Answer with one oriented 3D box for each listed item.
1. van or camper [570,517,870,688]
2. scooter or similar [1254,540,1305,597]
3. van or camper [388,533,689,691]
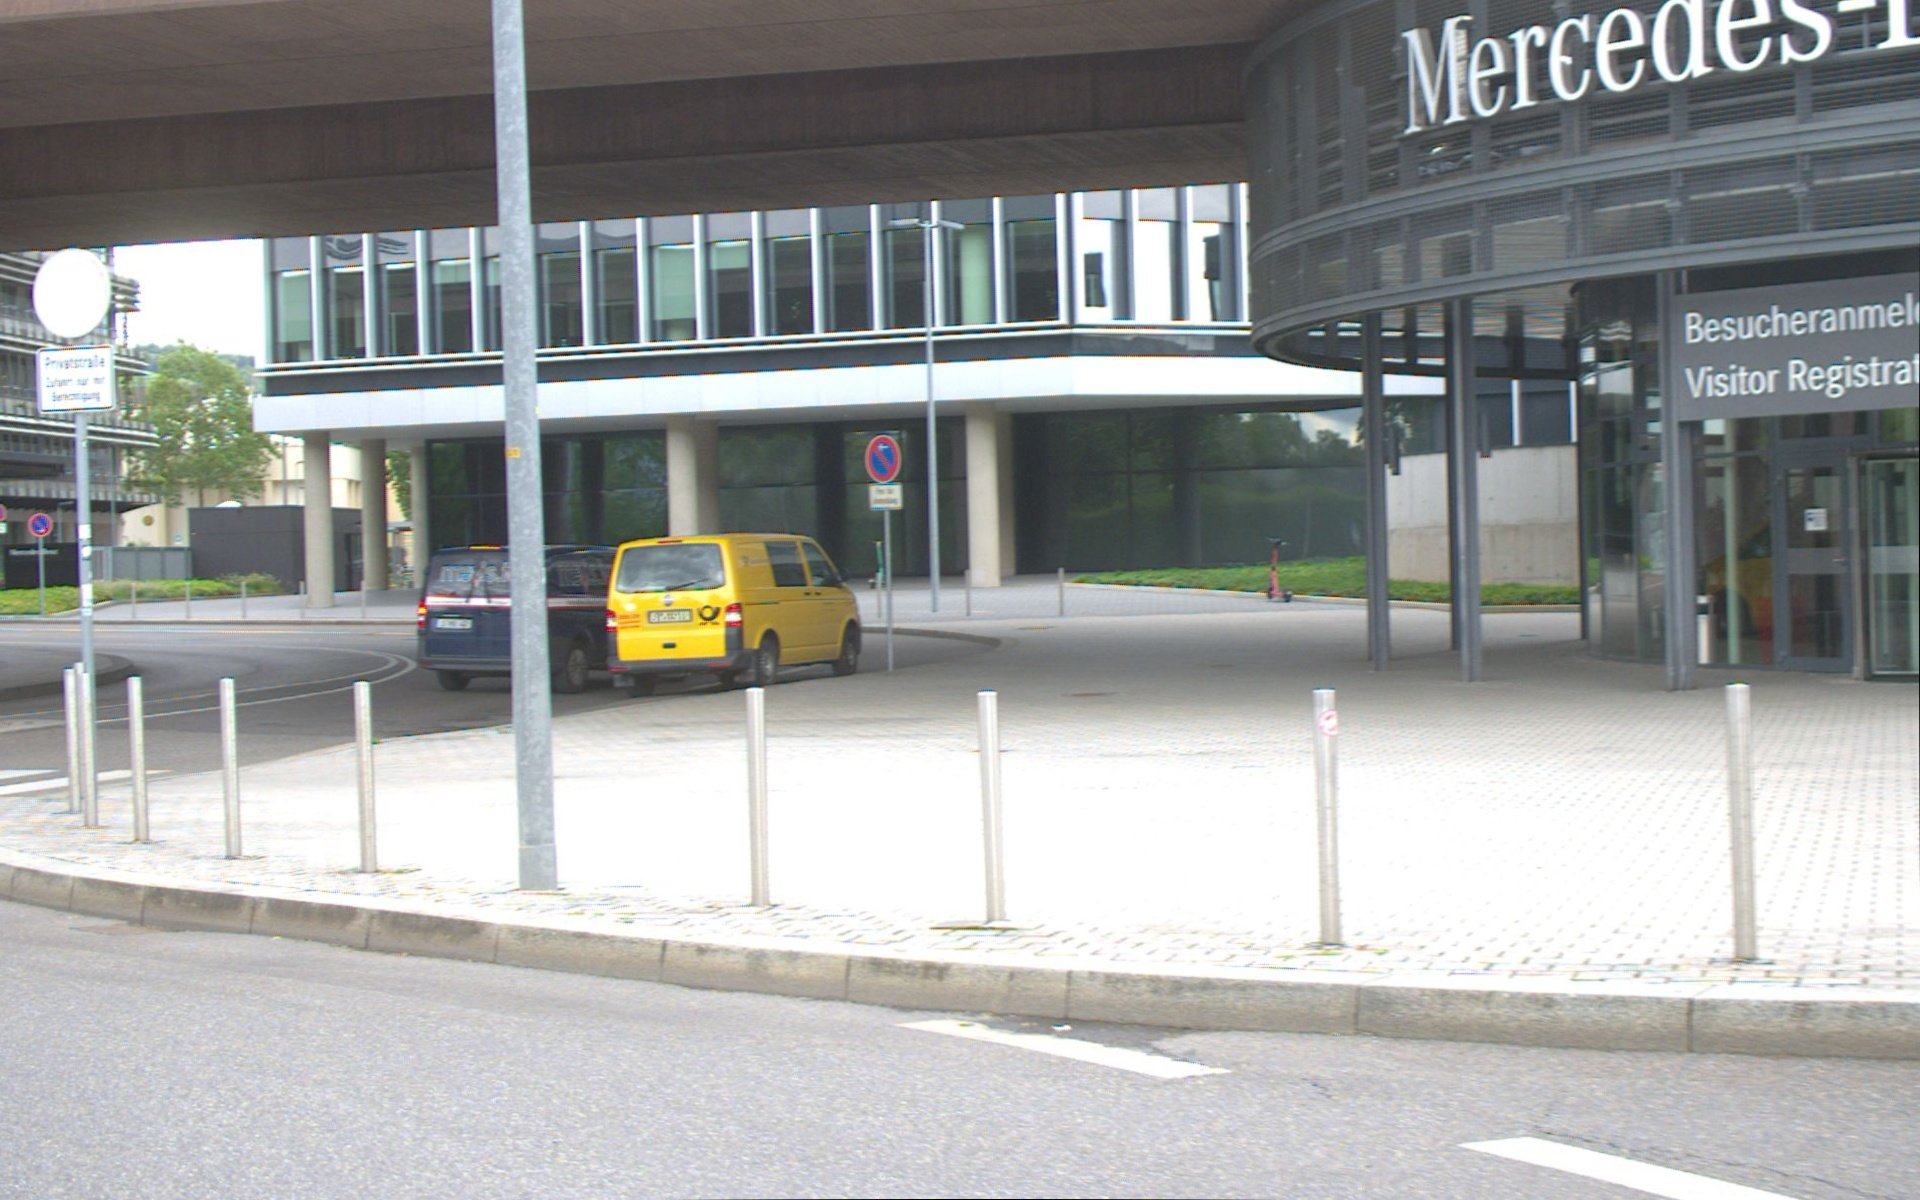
[{"bbox_3d":[-2.953,-0.026,43.480,2.356,1.992,4.502,0,2,16],"label":"van or camper"},{"bbox_3d":[6.340,-0.634,68.175,0.698,1.101,1.502,-1,2,-7],"label":"scooter or similar"},{"bbox_3d":[-5.440,0.106,45.126,2.148,1.886,4.898,0,2,16],"label":"van or camper"}]
